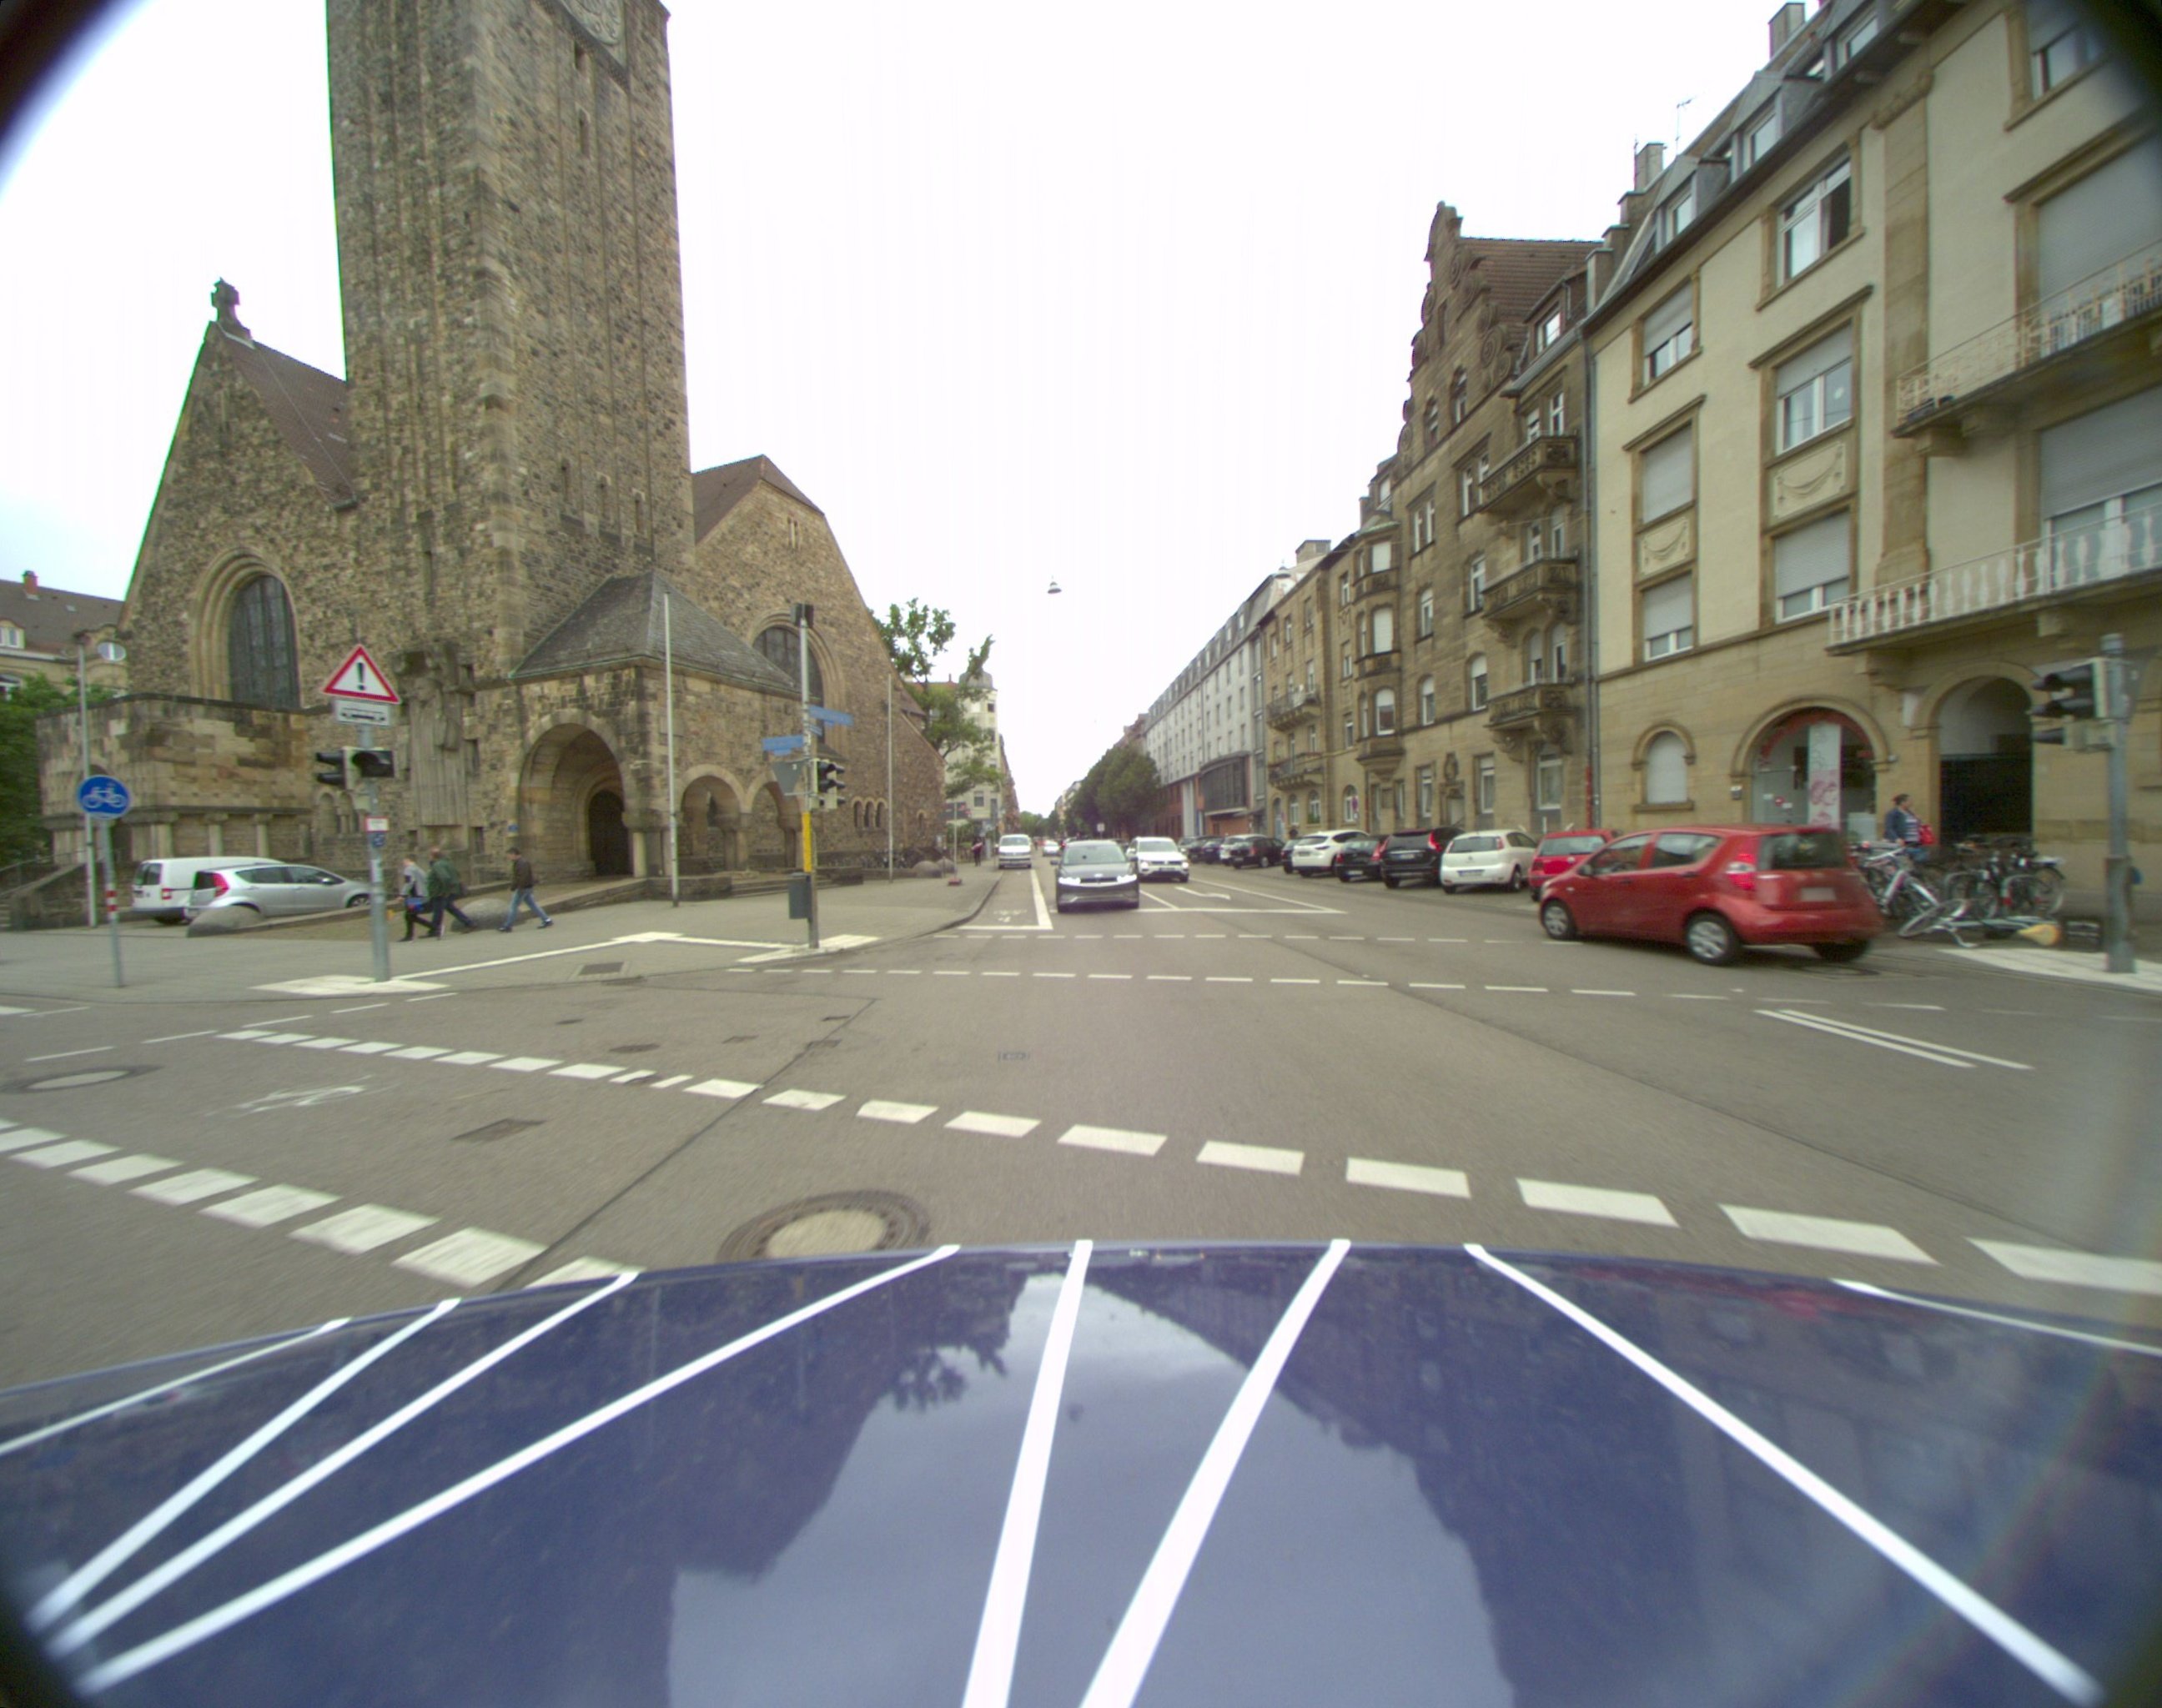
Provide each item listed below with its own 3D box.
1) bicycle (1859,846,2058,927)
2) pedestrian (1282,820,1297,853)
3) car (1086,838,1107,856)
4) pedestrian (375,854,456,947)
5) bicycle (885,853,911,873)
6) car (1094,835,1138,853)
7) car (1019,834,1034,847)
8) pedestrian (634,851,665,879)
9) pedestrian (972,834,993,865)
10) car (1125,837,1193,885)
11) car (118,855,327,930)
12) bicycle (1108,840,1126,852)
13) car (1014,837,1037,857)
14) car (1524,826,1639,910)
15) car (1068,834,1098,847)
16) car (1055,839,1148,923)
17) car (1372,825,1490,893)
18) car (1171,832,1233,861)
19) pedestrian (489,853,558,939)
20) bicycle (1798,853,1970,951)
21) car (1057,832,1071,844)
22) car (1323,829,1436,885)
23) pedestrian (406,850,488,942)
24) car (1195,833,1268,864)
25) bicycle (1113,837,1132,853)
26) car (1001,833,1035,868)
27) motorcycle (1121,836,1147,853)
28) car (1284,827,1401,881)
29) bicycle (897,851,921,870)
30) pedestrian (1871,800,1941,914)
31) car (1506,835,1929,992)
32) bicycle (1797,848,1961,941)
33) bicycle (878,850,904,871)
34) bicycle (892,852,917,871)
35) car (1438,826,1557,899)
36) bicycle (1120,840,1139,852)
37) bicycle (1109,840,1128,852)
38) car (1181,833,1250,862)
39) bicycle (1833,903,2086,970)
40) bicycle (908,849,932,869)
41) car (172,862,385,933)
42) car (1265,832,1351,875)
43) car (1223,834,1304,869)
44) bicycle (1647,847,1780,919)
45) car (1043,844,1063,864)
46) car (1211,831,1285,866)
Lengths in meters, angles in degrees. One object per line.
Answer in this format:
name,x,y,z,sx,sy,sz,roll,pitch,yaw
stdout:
bicycle,12.592,0.417,11.017,0.503,1.022,1.996,-2,1,-3
pedestrian,11.927,-0.996,43.400,0.622,1.813,0.641,-2,2,-3
car,1.346,-0.642,67.597,1.653,1.439,3.510,-2,1,-1
pedestrian,-12.564,0.850,14.372,0.634,1.663,0.969,0,2,3
bicycle,-9.978,0.488,41.466,1.380,1.054,0.311,-1,2,19
car,3.461,-0.987,75.608,4.005,1.620,1.768,-2,2,-26
car,-6.965,-1.754,97.473,1.820,1.557,3.998,-2,1,-3
pedestrian,-15.080,0.380,26.572,0.672,0.946,0.616,-1,2,19
pedestrian,-6.111,-0.279,47.073,0.814,1.799,1.020,-1,4,18
car,2.801,0.191,28.254,1.911,1.597,4.248,-2,2,-2
car,-24.176,1.013,21.550,1.683,1.783,3.472,-1,2,23
bicycle,3.393,-0.770,71.985,1.630,1.068,0.416,-4,2,-5
car,-4.721,-0.611,65.081,1.820,1.557,3.998,-2,1,-3
car,10.912,0.238,16.433,1.679,1.464,4.007,-3,2,39
car,0.267,-2.080,116.340,4.005,1.898,1.995,-2,2,-26
car,0.365,0.514,17.805,1.820,1.676,3.998,-2,2,-3
car,10.162,0.077,21.921,1.726,1.642,4.233,0,3,45
car,7.822,-0.521,48.847,4.006,1.545,1.728,-6,3,-42
pedestrian,-11.330,0.831,15.470,0.676,1.676,0.968,0,2,-3
bicycle,10.641,0.622,10.081,1.891,1.030,0.442,-7,2,-5
car,-2.639,-2.478,117.471,1.698,1.793,4.126,-1,1,-5
car,9.926,0.063,25.155,4.006,1.486,1.727,-6,3,-40
pedestrian,-12.626,0.811,15.161,0.806,1.749,0.968,0,2,-3
car,8.555,-0.319,43.125,3.754,1.437,1.819,-5,2,-33
bicycle,3.698,-0.784,67.638,1.630,1.283,0.416,-4,2,-5
car,-3.717,-0.240,44.820,1.810,1.909,5.160,-2,1,-4
motorcycle,4.577,-0.792,65.716,2.124,1.346,0.598,-3,2,-3
car,9.768,-0.044,28.358,4.005,1.714,1.836,-4,3,-28
bicycle,-9.692,0.369,42.773,1.340,1.054,0.311,-1,2,19
pedestrian,14.454,0.042,13.323,0.621,1.947,0.550,-2,2,-2
car,7.533,0.549,9.619,1.738,1.516,3.996,-2,2,-7
bicycle,11.174,0.553,10.654,1.891,1.030,0.442,-7,2,-5
bicycle,-10.216,0.356,40.822,1.380,1.054,0.311,-1,2,19
bicycle,-9.791,0.416,42.106,1.380,1.054,0.311,-1,2,19
car,10.648,0.157,19.295,1.560,1.464,4.006,-2,3,45
bicycle,4.465,-0.750,70.232,1.630,1.068,0.416,-4,2,-5
bicycle,3.528,-0.753,71.331,1.630,1.068,0.416,-4,2,-5
car,8.146,-0.389,45.818,4.006,1.430,1.729,-5,2,-35
bicycle,10.379,0.954,9.038,1.891,0.442,1.028,-7,1,-5
bicycle,-9.203,0.300,43.469,1.340,1.140,0.311,-1,2,19
car,-21.141,1.073,20.188,1.614,1.522,3.472,-1,2,23
car,9.425,-0.068,31.440,3.818,1.489,1.565,-6,4,-41
car,8.895,-0.137,36.915,4.006,1.410,1.657,-5,4,-39
bicycle,11.050,0.504,13.299,1.891,1.030,0.442,-6,2,0
car,-2.841,-0.011,76.291,1.832,1.762,3.997,-2,2,-4
car,8.918,-0.329,40.457,4.006,1.545,1.699,-6,2,-41
